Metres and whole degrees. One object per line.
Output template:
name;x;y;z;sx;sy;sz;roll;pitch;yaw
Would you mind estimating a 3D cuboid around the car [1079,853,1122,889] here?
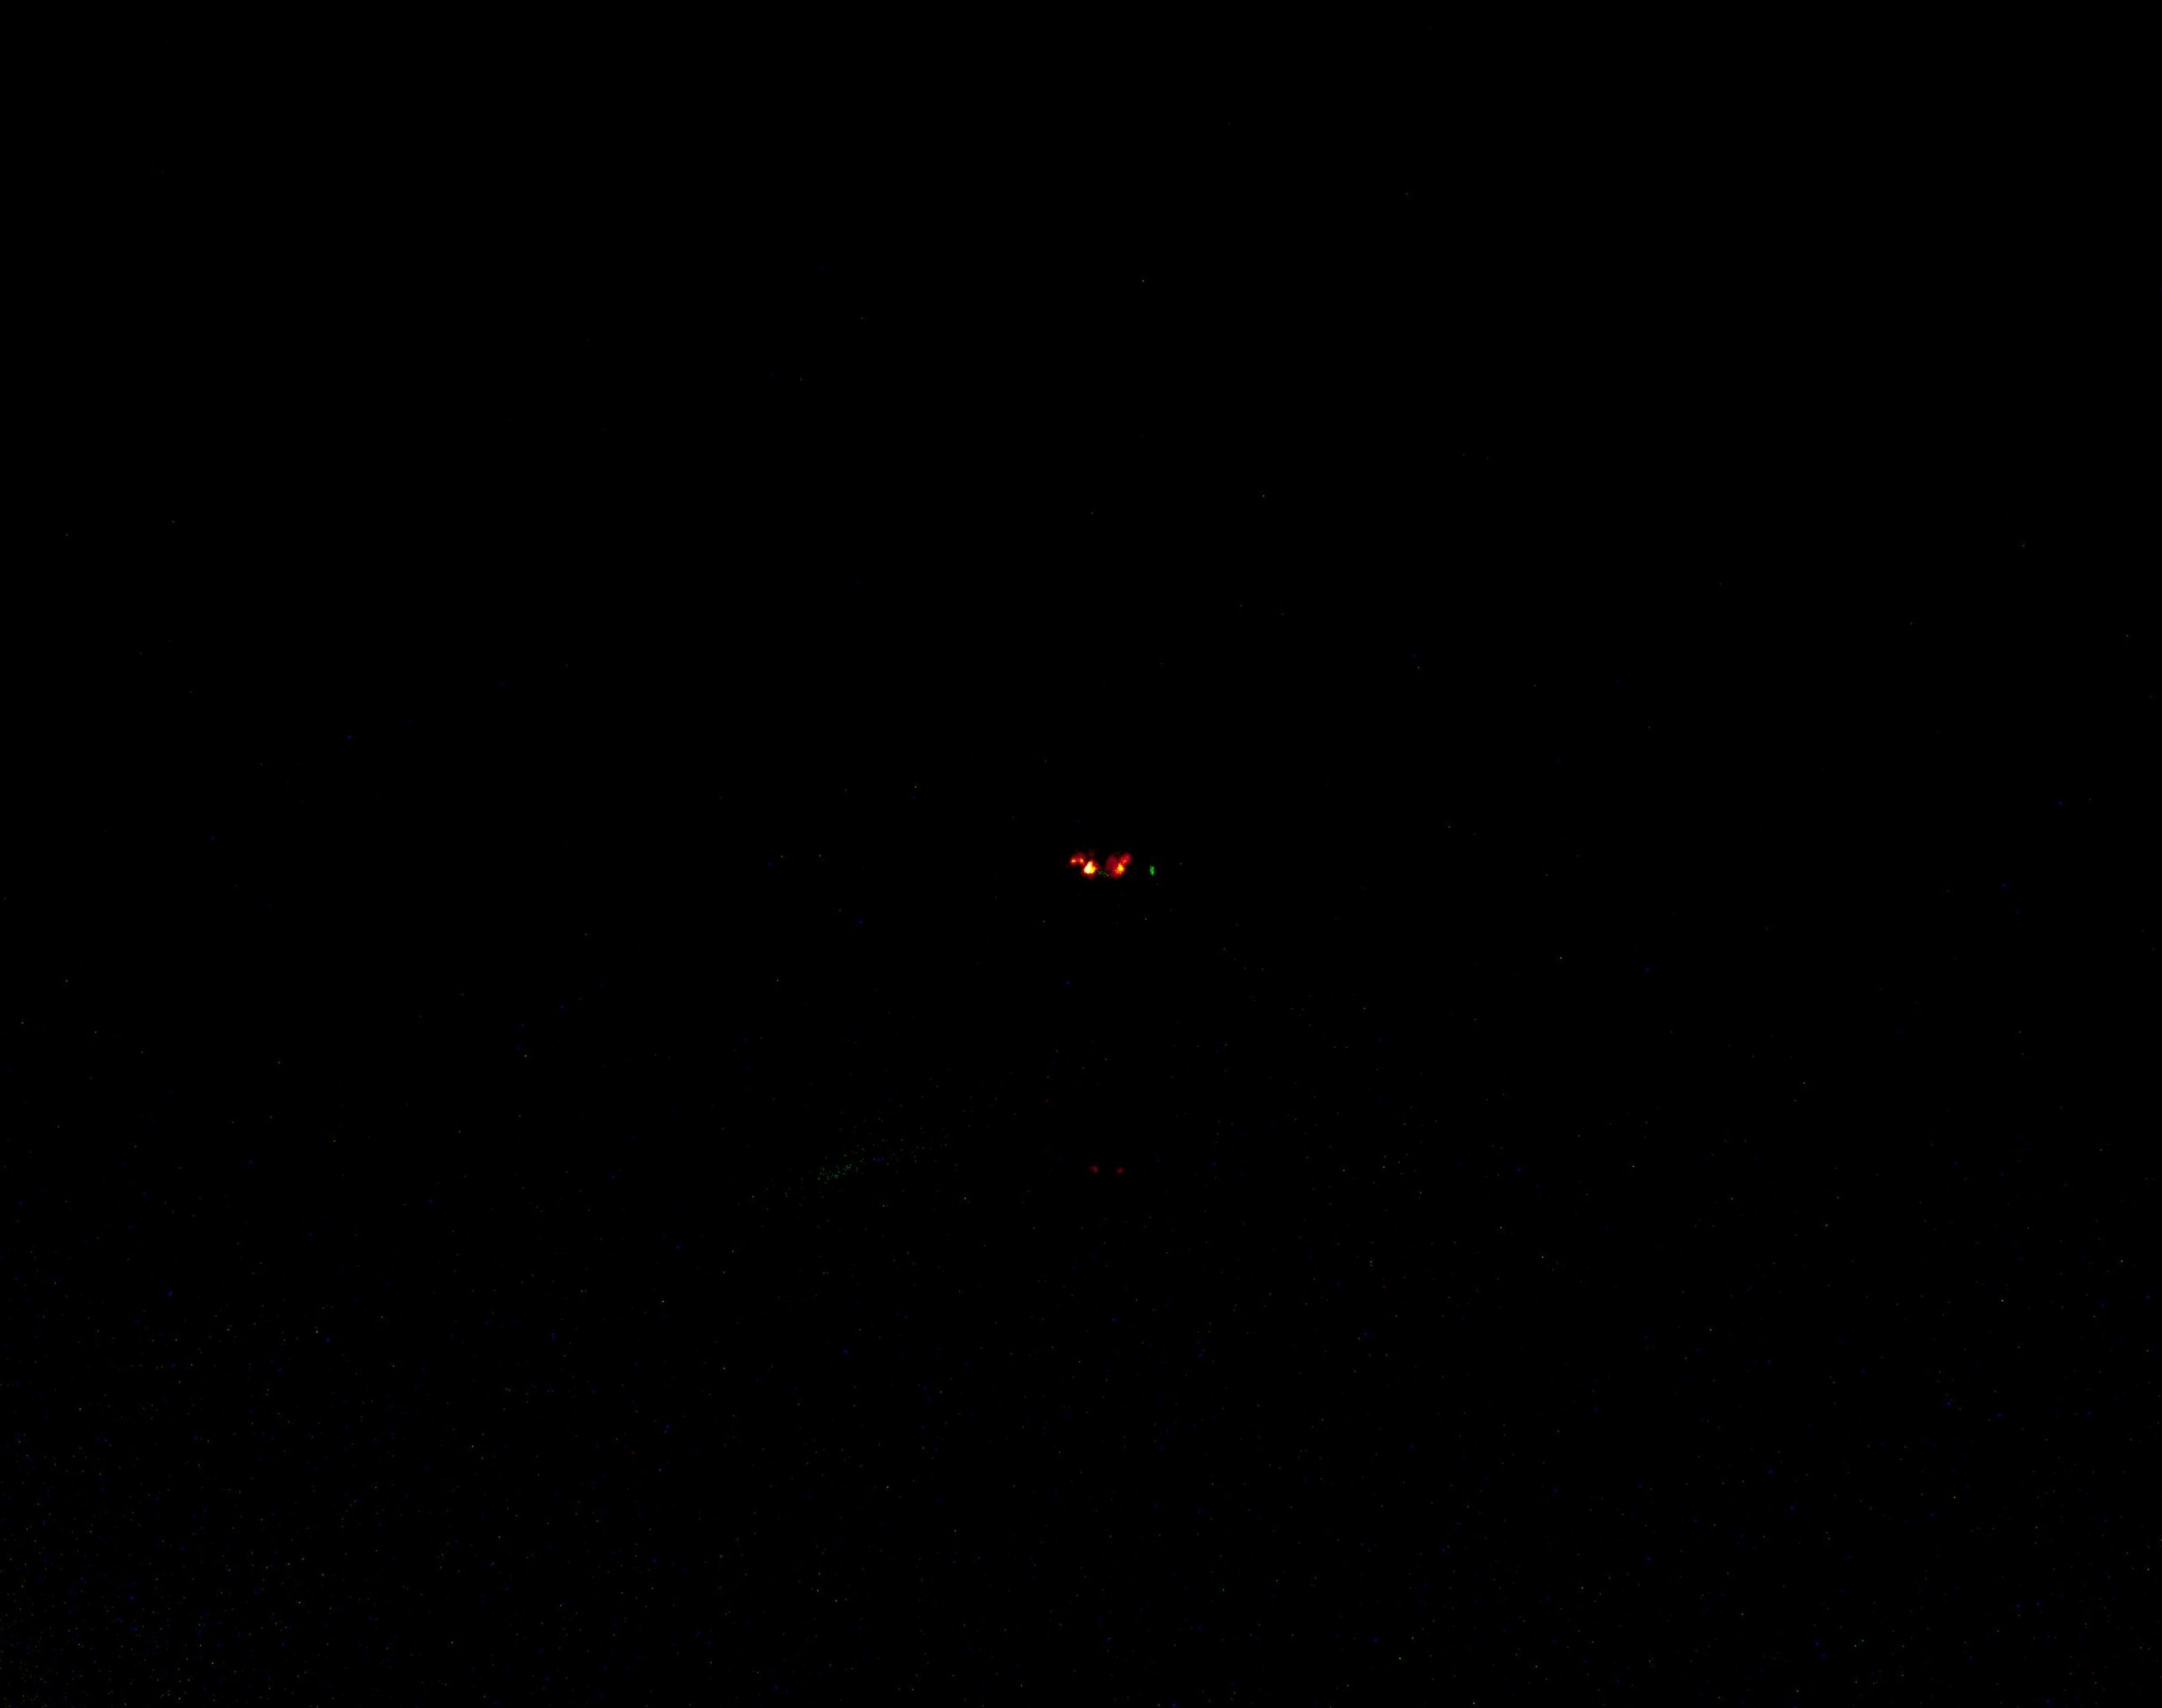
car;1.005;0.812;40.031;1.986;1.628;4.987;0;0;2
